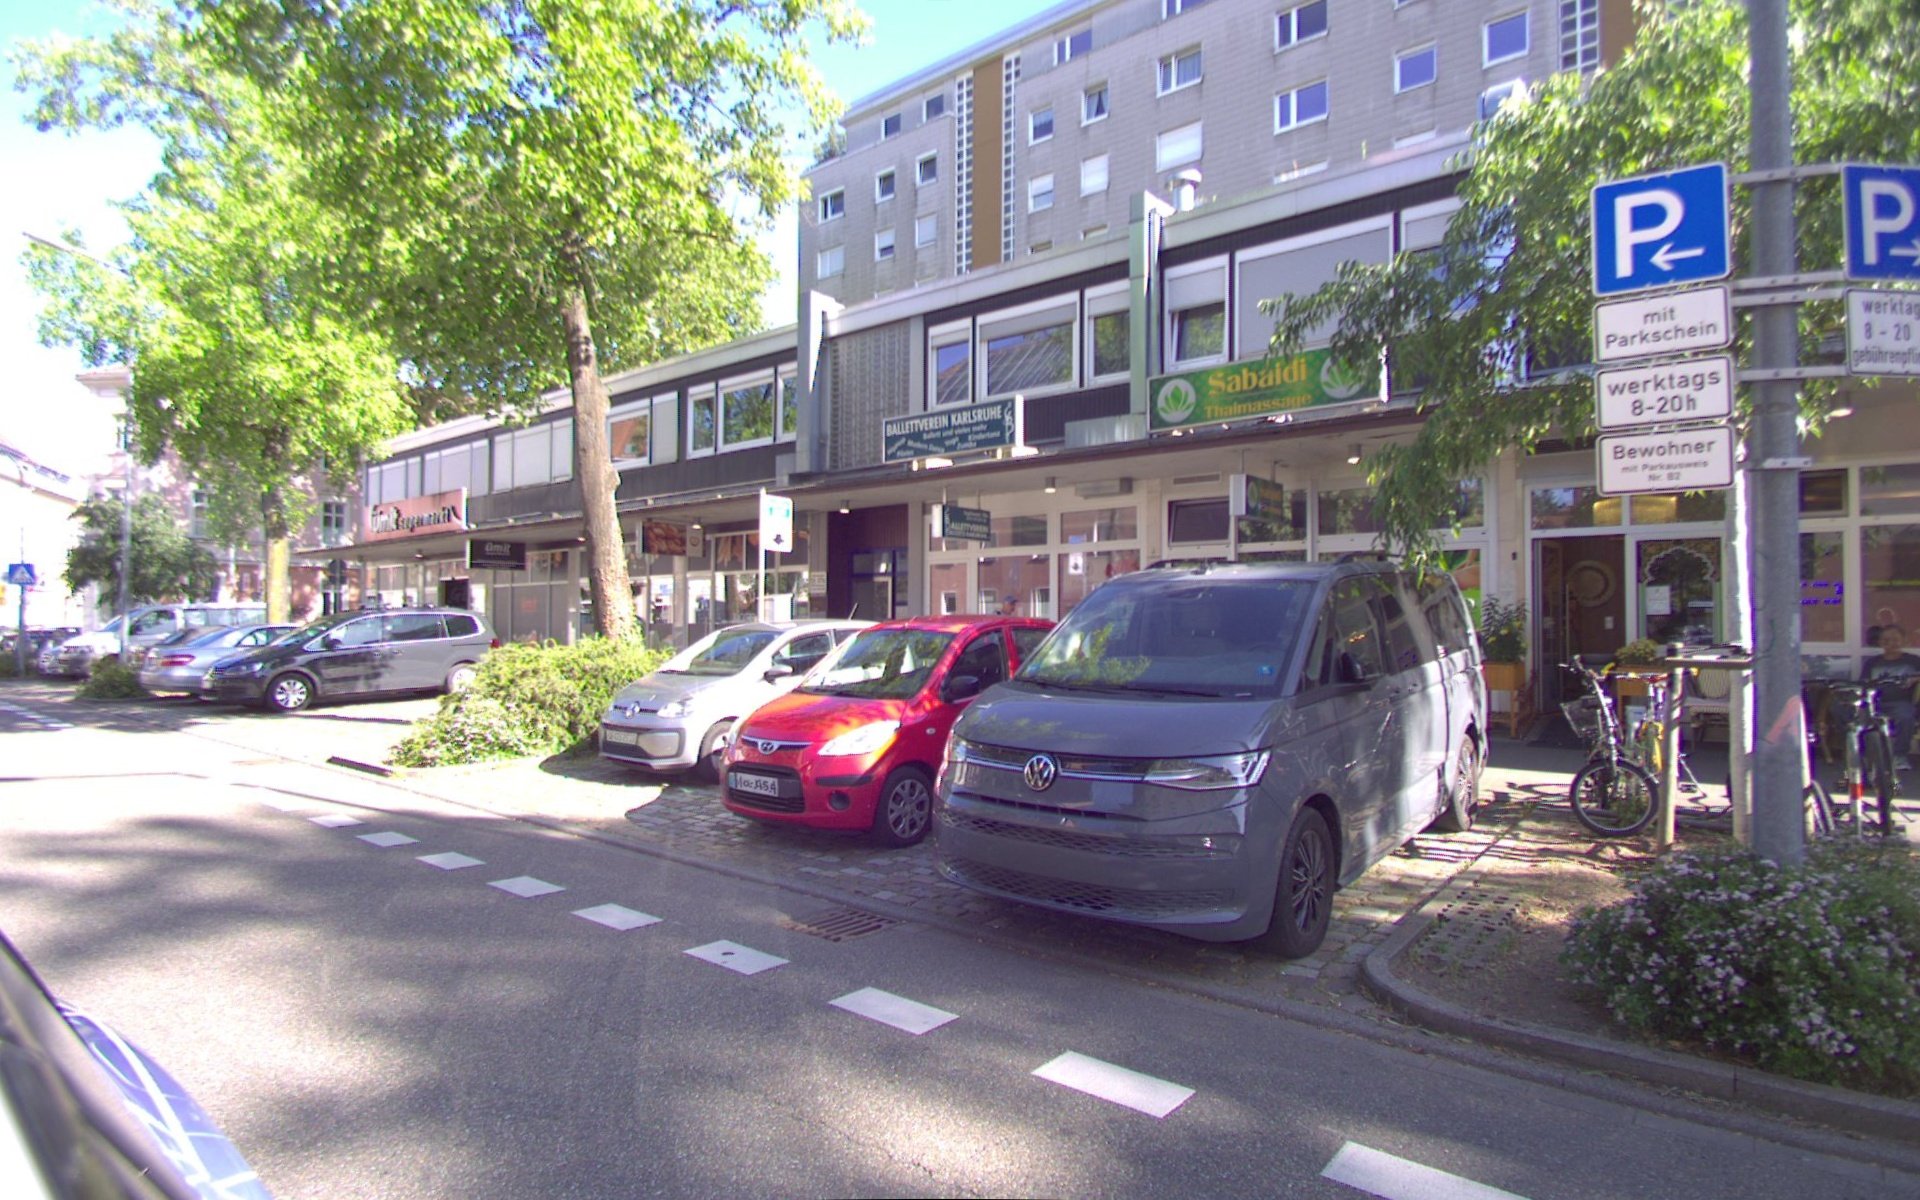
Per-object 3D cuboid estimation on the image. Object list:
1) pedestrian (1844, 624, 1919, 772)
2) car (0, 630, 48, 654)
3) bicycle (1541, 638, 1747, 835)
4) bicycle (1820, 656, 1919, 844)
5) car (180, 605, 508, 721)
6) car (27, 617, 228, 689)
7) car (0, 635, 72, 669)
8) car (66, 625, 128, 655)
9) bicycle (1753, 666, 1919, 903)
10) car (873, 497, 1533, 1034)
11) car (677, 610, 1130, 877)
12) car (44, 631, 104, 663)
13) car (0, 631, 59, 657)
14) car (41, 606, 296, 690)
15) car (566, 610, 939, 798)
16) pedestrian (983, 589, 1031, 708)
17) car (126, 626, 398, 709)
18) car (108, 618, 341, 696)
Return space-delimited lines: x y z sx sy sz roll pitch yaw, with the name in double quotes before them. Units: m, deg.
"pedestrian" 8.321 0.843 8.921 0.746 1.255 0.642 -2 -2 40
"car" -58.415 2.573 62.883 1.585 1.464 3.305 1 -2 -24
"bicycle" 4.930 0.869 7.223 0.802 1.176 2.211 -2 -3 45
"bicycle" 6.095 0.914 6.645 0.614 1.047 1.844 -2 -2 39
"car" -10.919 1.008 18.276 1.872 1.790 4.722 -2 -1 39
"car" -22.626 1.399 27.623 1.755 1.805 3.948 -2 -2 38
"car" -46.695 2.588 51.212 1.645 1.650 4.061 1 -2 -27
"car" -51.043 2.355 59.920 1.827 1.674 4.013 1 -2 -26
"bicycle" 4.876 0.921 5.605 0.613 1.047 1.846 -1 -2 34
"car" 1.904 0.610 6.208 1.872 1.953 4.979 -2 -1 40
"car" -0.250 0.891 7.988 1.659 1.566 3.523 -2 -1 38
"car" -48.931 2.569 55.937 1.482 1.674 4.013 1 -2 -26
"car" -55.250 2.604 59.855 1.965 1.475 4.013 1 -2 -27
"car" -20.396 1.157 26.300 1.907 1.984 4.935 -2 -1 37
"car" -2.019 0.917 10.569 1.671 1.573 3.550 -2 -1 40
"pedestrian" 0.682 0.697 14.700 0.532 1.678 0.439 -2 -2 40
"car" -13.281 1.217 19.460 1.757 1.409 3.949 -2 -2 37
"car" -16.684 1.230 23.111 1.734 1.431 3.950 -2 1 37
